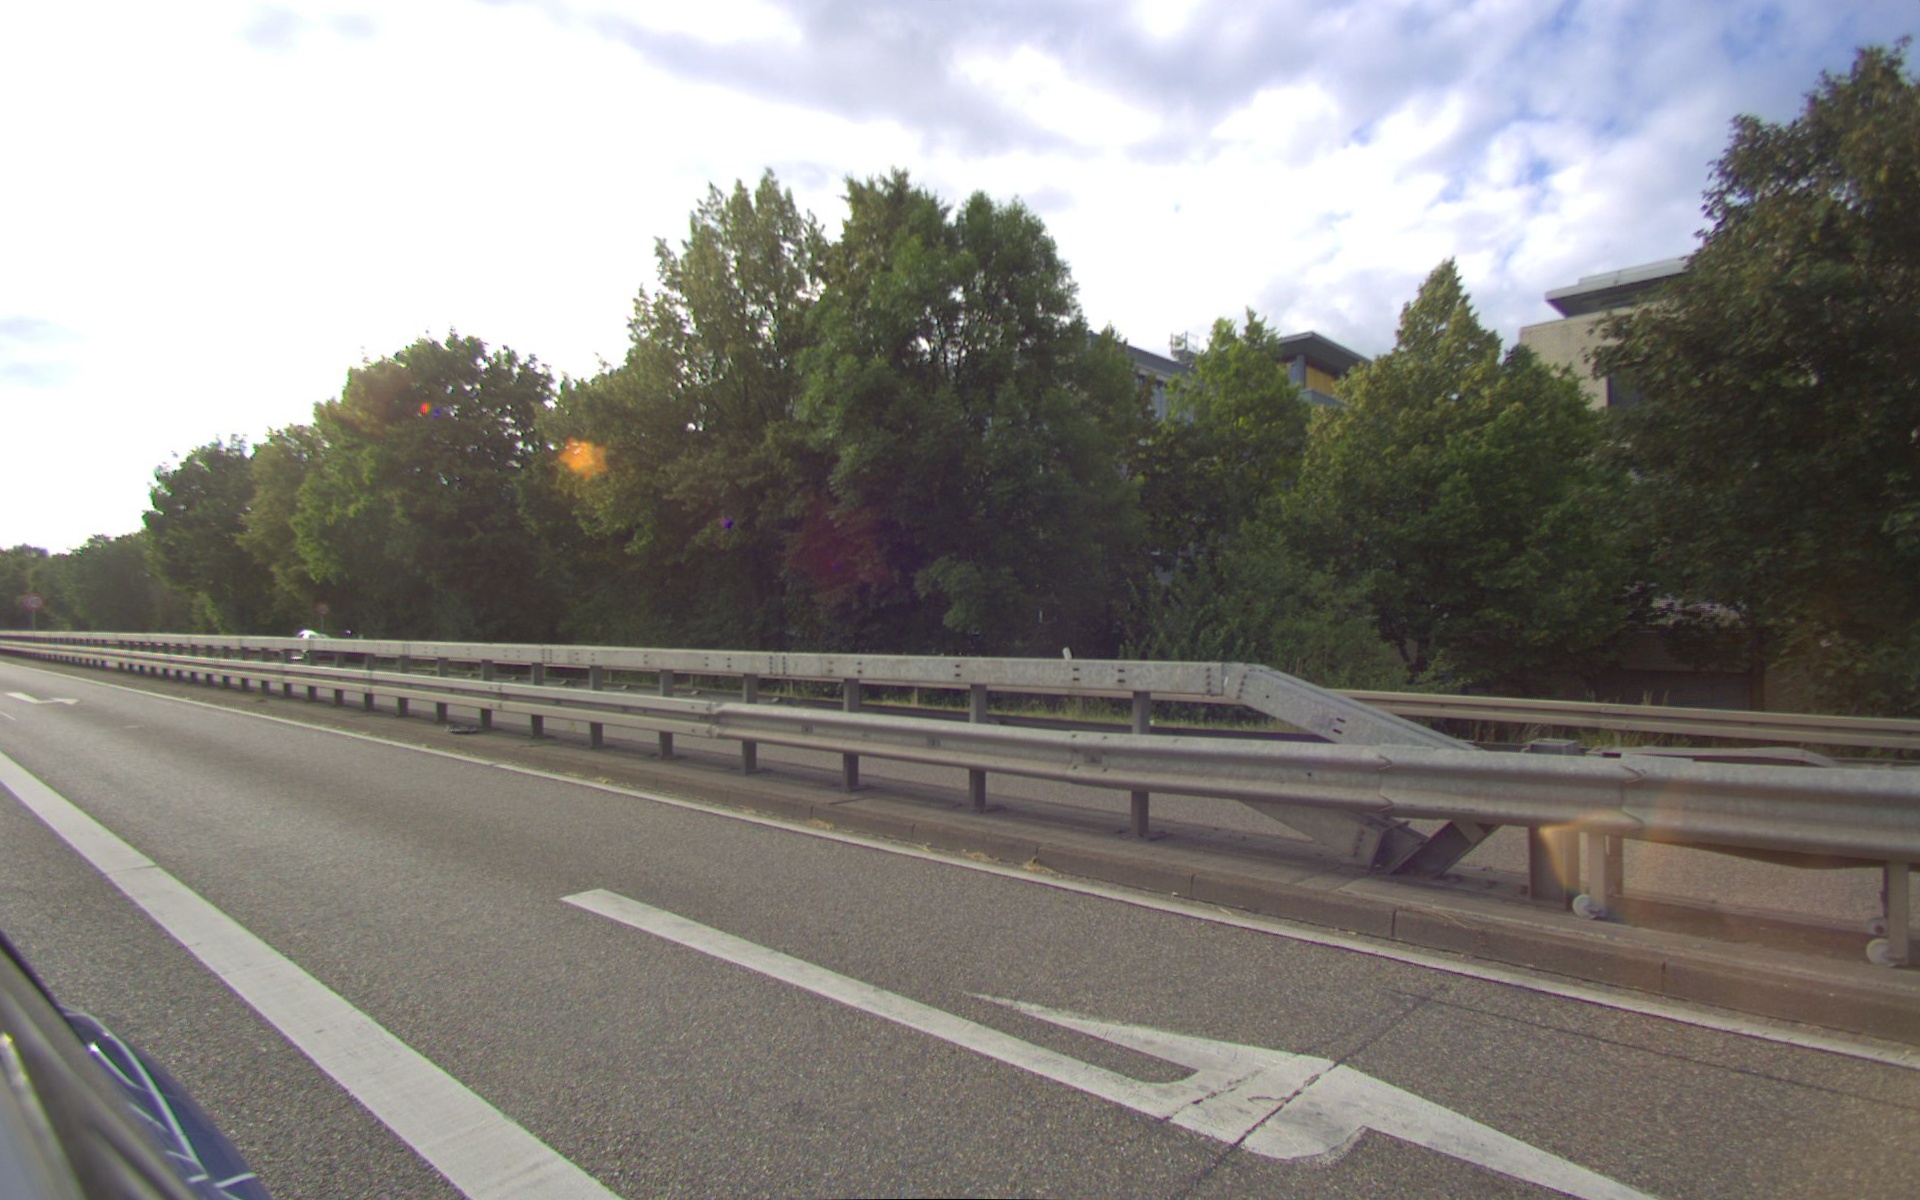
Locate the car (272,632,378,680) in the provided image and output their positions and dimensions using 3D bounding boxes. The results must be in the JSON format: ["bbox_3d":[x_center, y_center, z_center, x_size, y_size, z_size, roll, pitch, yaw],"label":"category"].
[{"bbox_3d":[-22.717,1.951,36.175,4.368,1.468,1.897,-1,0,39],"label":"car"}]
